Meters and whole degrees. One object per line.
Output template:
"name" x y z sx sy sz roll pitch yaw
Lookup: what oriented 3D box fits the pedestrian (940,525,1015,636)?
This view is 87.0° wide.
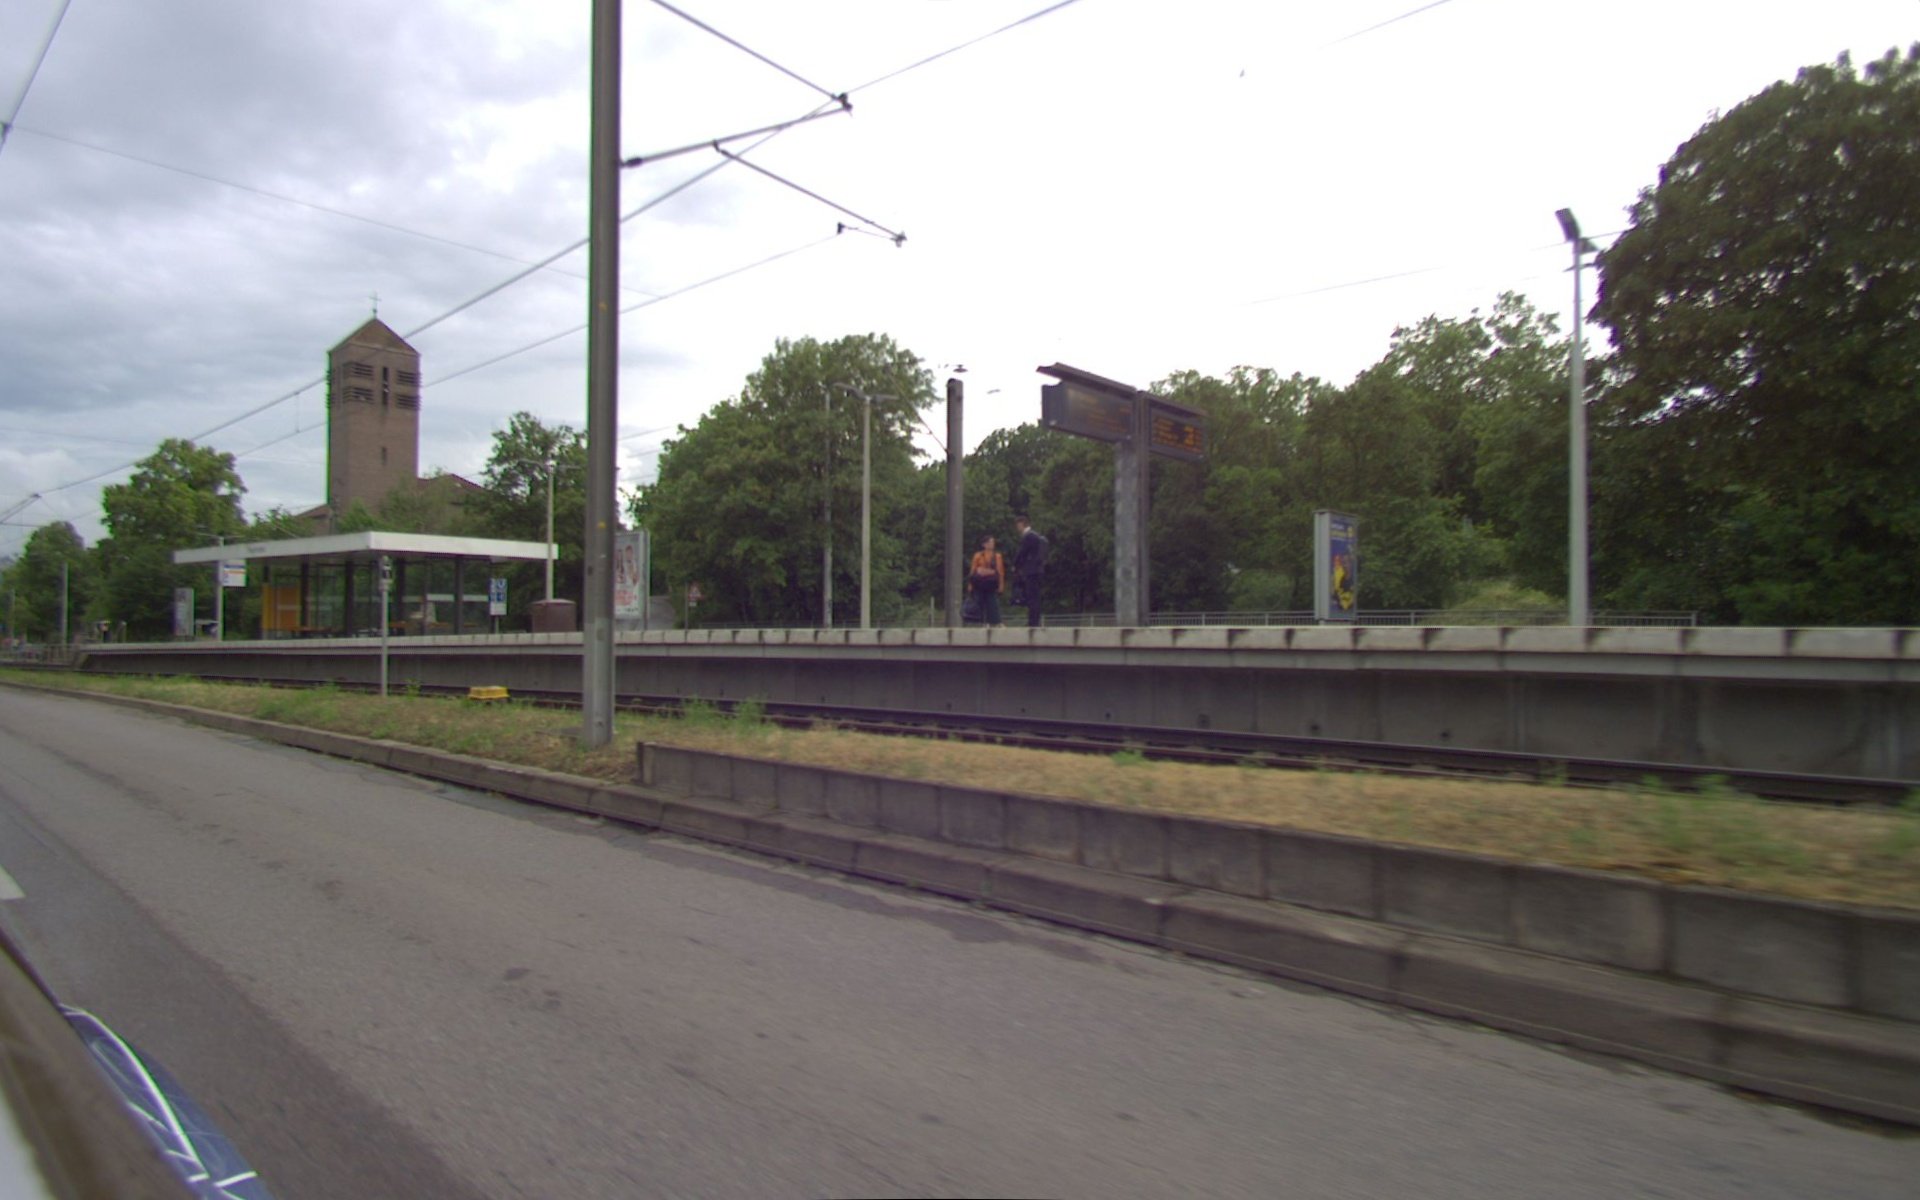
"pedestrian" 0.287 -0.297 16.003 0.911 1.659 0.792 -4 -1 19

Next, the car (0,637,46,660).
"car" -73.176 3.781 78.913 4.508 1.636 1.976 -2 -2 36

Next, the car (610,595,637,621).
"car" -27.576 0.631 82.772 1.965 2.029 4.013 -1 1 -20

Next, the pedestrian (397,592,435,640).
"pedestrian" -14.373 0.422 26.755 0.619 1.235 0.703 -2 -2 40

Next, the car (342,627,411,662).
"car" -33.408 2.521 57.895 4.513 1.890 1.974 -2 -2 39

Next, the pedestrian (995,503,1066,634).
"pedestrian" 1.089 -0.465 15.567 0.835 1.924 0.741 -4 -1 19
